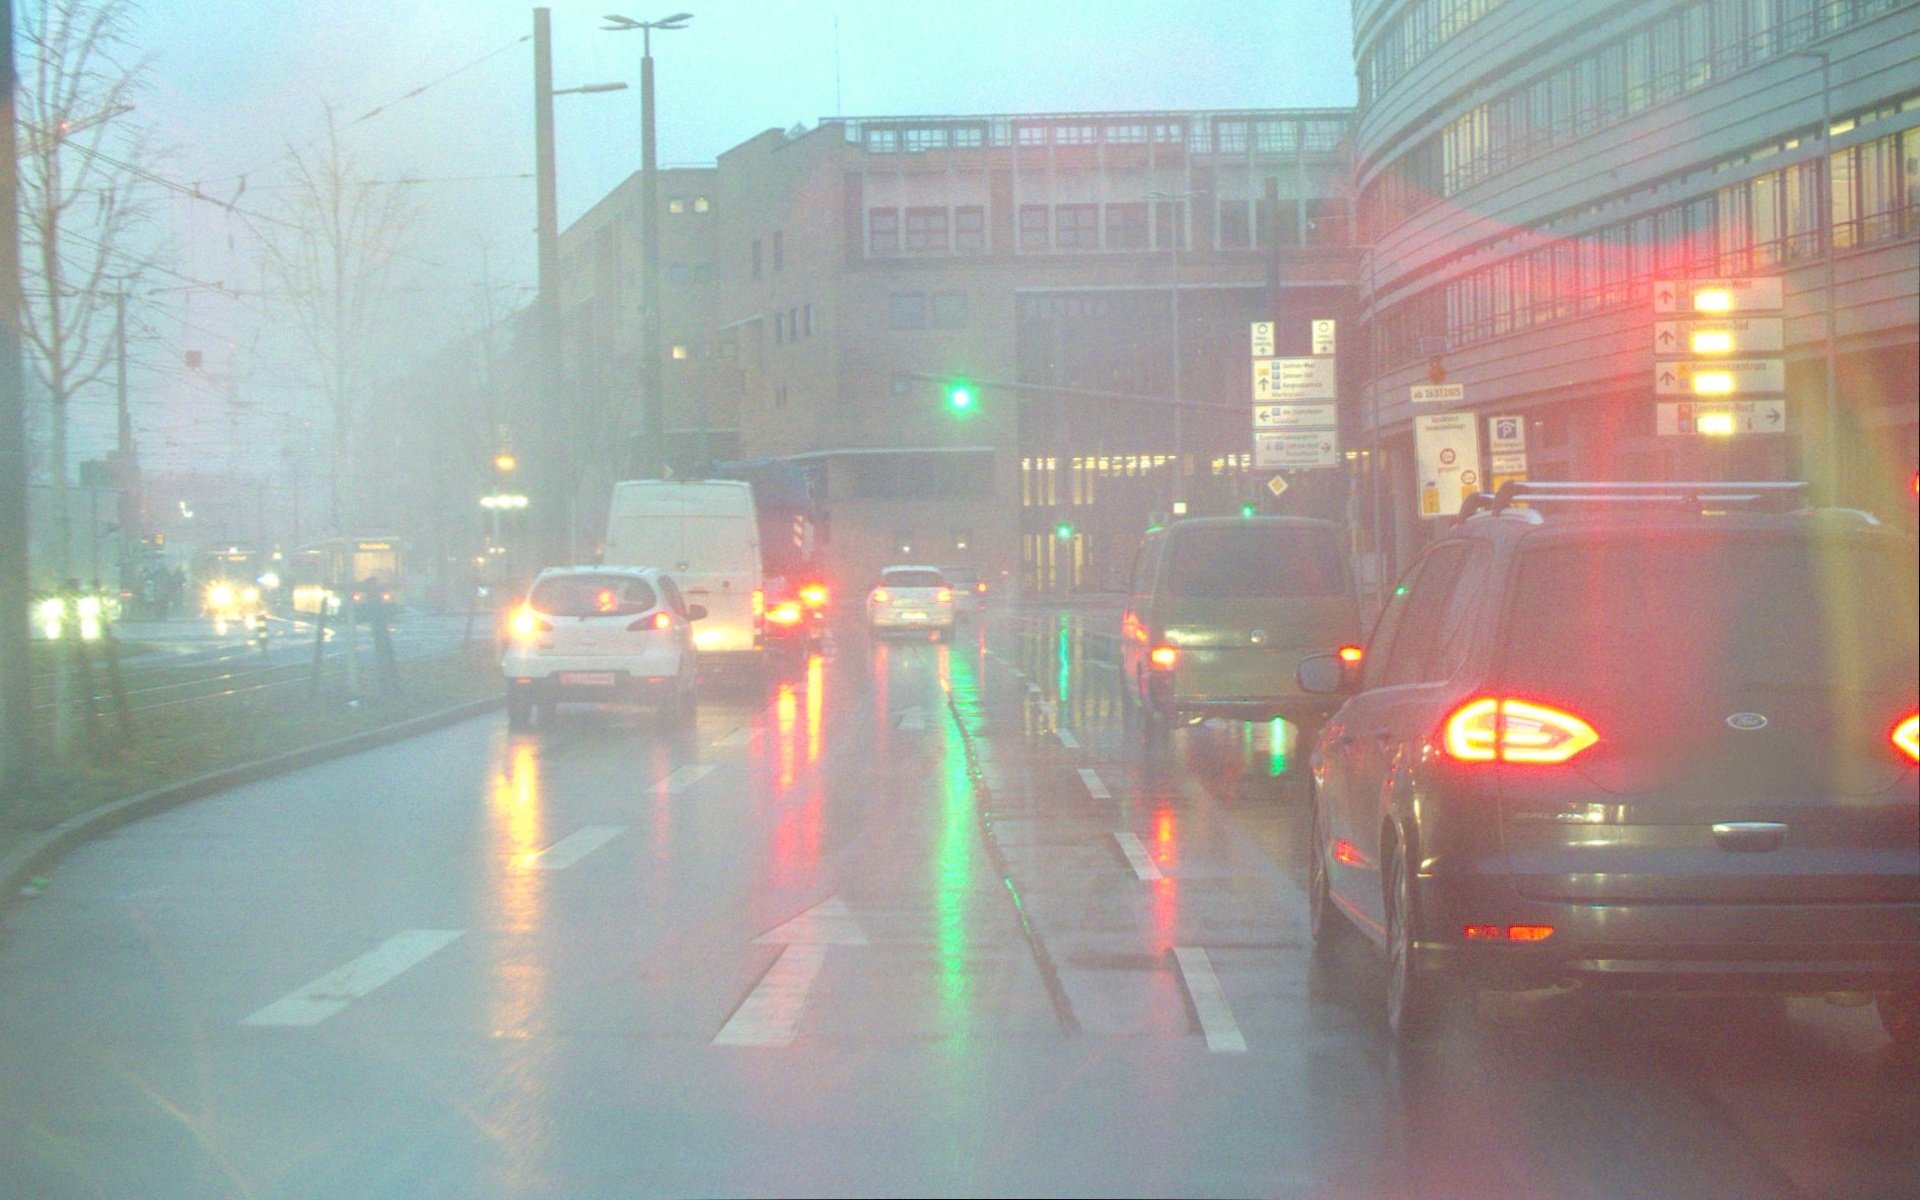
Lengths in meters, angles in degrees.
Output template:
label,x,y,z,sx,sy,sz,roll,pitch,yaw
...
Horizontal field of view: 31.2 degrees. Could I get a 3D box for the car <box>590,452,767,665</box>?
label,x,y,z,sx,sy,sz,roll,pitch,yaw
car,-3.500,-0.508,42.668,1.993,2.419,5.975,-1,1,-5

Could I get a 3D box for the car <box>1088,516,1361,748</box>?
label,x,y,z,sx,sy,sz,roll,pitch,yaw
car,2.172,0.224,29.371,1.843,1.800,4.487,-1,1,-2

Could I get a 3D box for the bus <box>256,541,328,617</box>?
label,x,y,z,sx,sy,sz,roll,pitch,yaw
bus,-30.590,-0.972,157.210,2.822,3.361,8.002,-1,0,-13

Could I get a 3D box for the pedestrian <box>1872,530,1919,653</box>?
label,x,y,z,sx,sy,sz,roll,pitch,yaw
pedestrian,12.610,-0.117,45.672,0.726,1.619,0.902,-1,0,-1

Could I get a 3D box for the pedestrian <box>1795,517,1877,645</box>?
label,x,y,z,sx,sy,sz,roll,pitch,yaw
pedestrian,11.684,-0.253,45.886,0.793,1.680,1.069,-1,0,-1

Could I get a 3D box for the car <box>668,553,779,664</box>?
label,x,y,z,sx,sy,sz,roll,pitch,yaw
car,-3.402,0.119,49.440,1.518,1.515,3.471,-1,0,-4

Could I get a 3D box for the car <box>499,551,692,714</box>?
label,x,y,z,sx,sy,sz,roll,pitch,yaw
car,-3.591,0.283,34.394,1.638,1.491,3.686,-1,1,-2

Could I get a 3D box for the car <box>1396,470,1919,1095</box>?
label,x,y,z,sx,sy,sz,roll,pitch,yaw
car,2.482,0.496,11.788,1.674,1.773,4.000,0,1,3

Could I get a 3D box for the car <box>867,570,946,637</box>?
label,x,y,z,sx,sy,sz,roll,pitch,yaw
car,-1.069,0.052,70.032,1.511,1.301,3.040,-1,1,0

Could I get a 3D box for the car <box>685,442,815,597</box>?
label,x,y,z,sx,sy,sz,roll,pitch,yaw
car,-4.033,-1.494,66.190,2.355,2.817,6.359,-1,0,-3
